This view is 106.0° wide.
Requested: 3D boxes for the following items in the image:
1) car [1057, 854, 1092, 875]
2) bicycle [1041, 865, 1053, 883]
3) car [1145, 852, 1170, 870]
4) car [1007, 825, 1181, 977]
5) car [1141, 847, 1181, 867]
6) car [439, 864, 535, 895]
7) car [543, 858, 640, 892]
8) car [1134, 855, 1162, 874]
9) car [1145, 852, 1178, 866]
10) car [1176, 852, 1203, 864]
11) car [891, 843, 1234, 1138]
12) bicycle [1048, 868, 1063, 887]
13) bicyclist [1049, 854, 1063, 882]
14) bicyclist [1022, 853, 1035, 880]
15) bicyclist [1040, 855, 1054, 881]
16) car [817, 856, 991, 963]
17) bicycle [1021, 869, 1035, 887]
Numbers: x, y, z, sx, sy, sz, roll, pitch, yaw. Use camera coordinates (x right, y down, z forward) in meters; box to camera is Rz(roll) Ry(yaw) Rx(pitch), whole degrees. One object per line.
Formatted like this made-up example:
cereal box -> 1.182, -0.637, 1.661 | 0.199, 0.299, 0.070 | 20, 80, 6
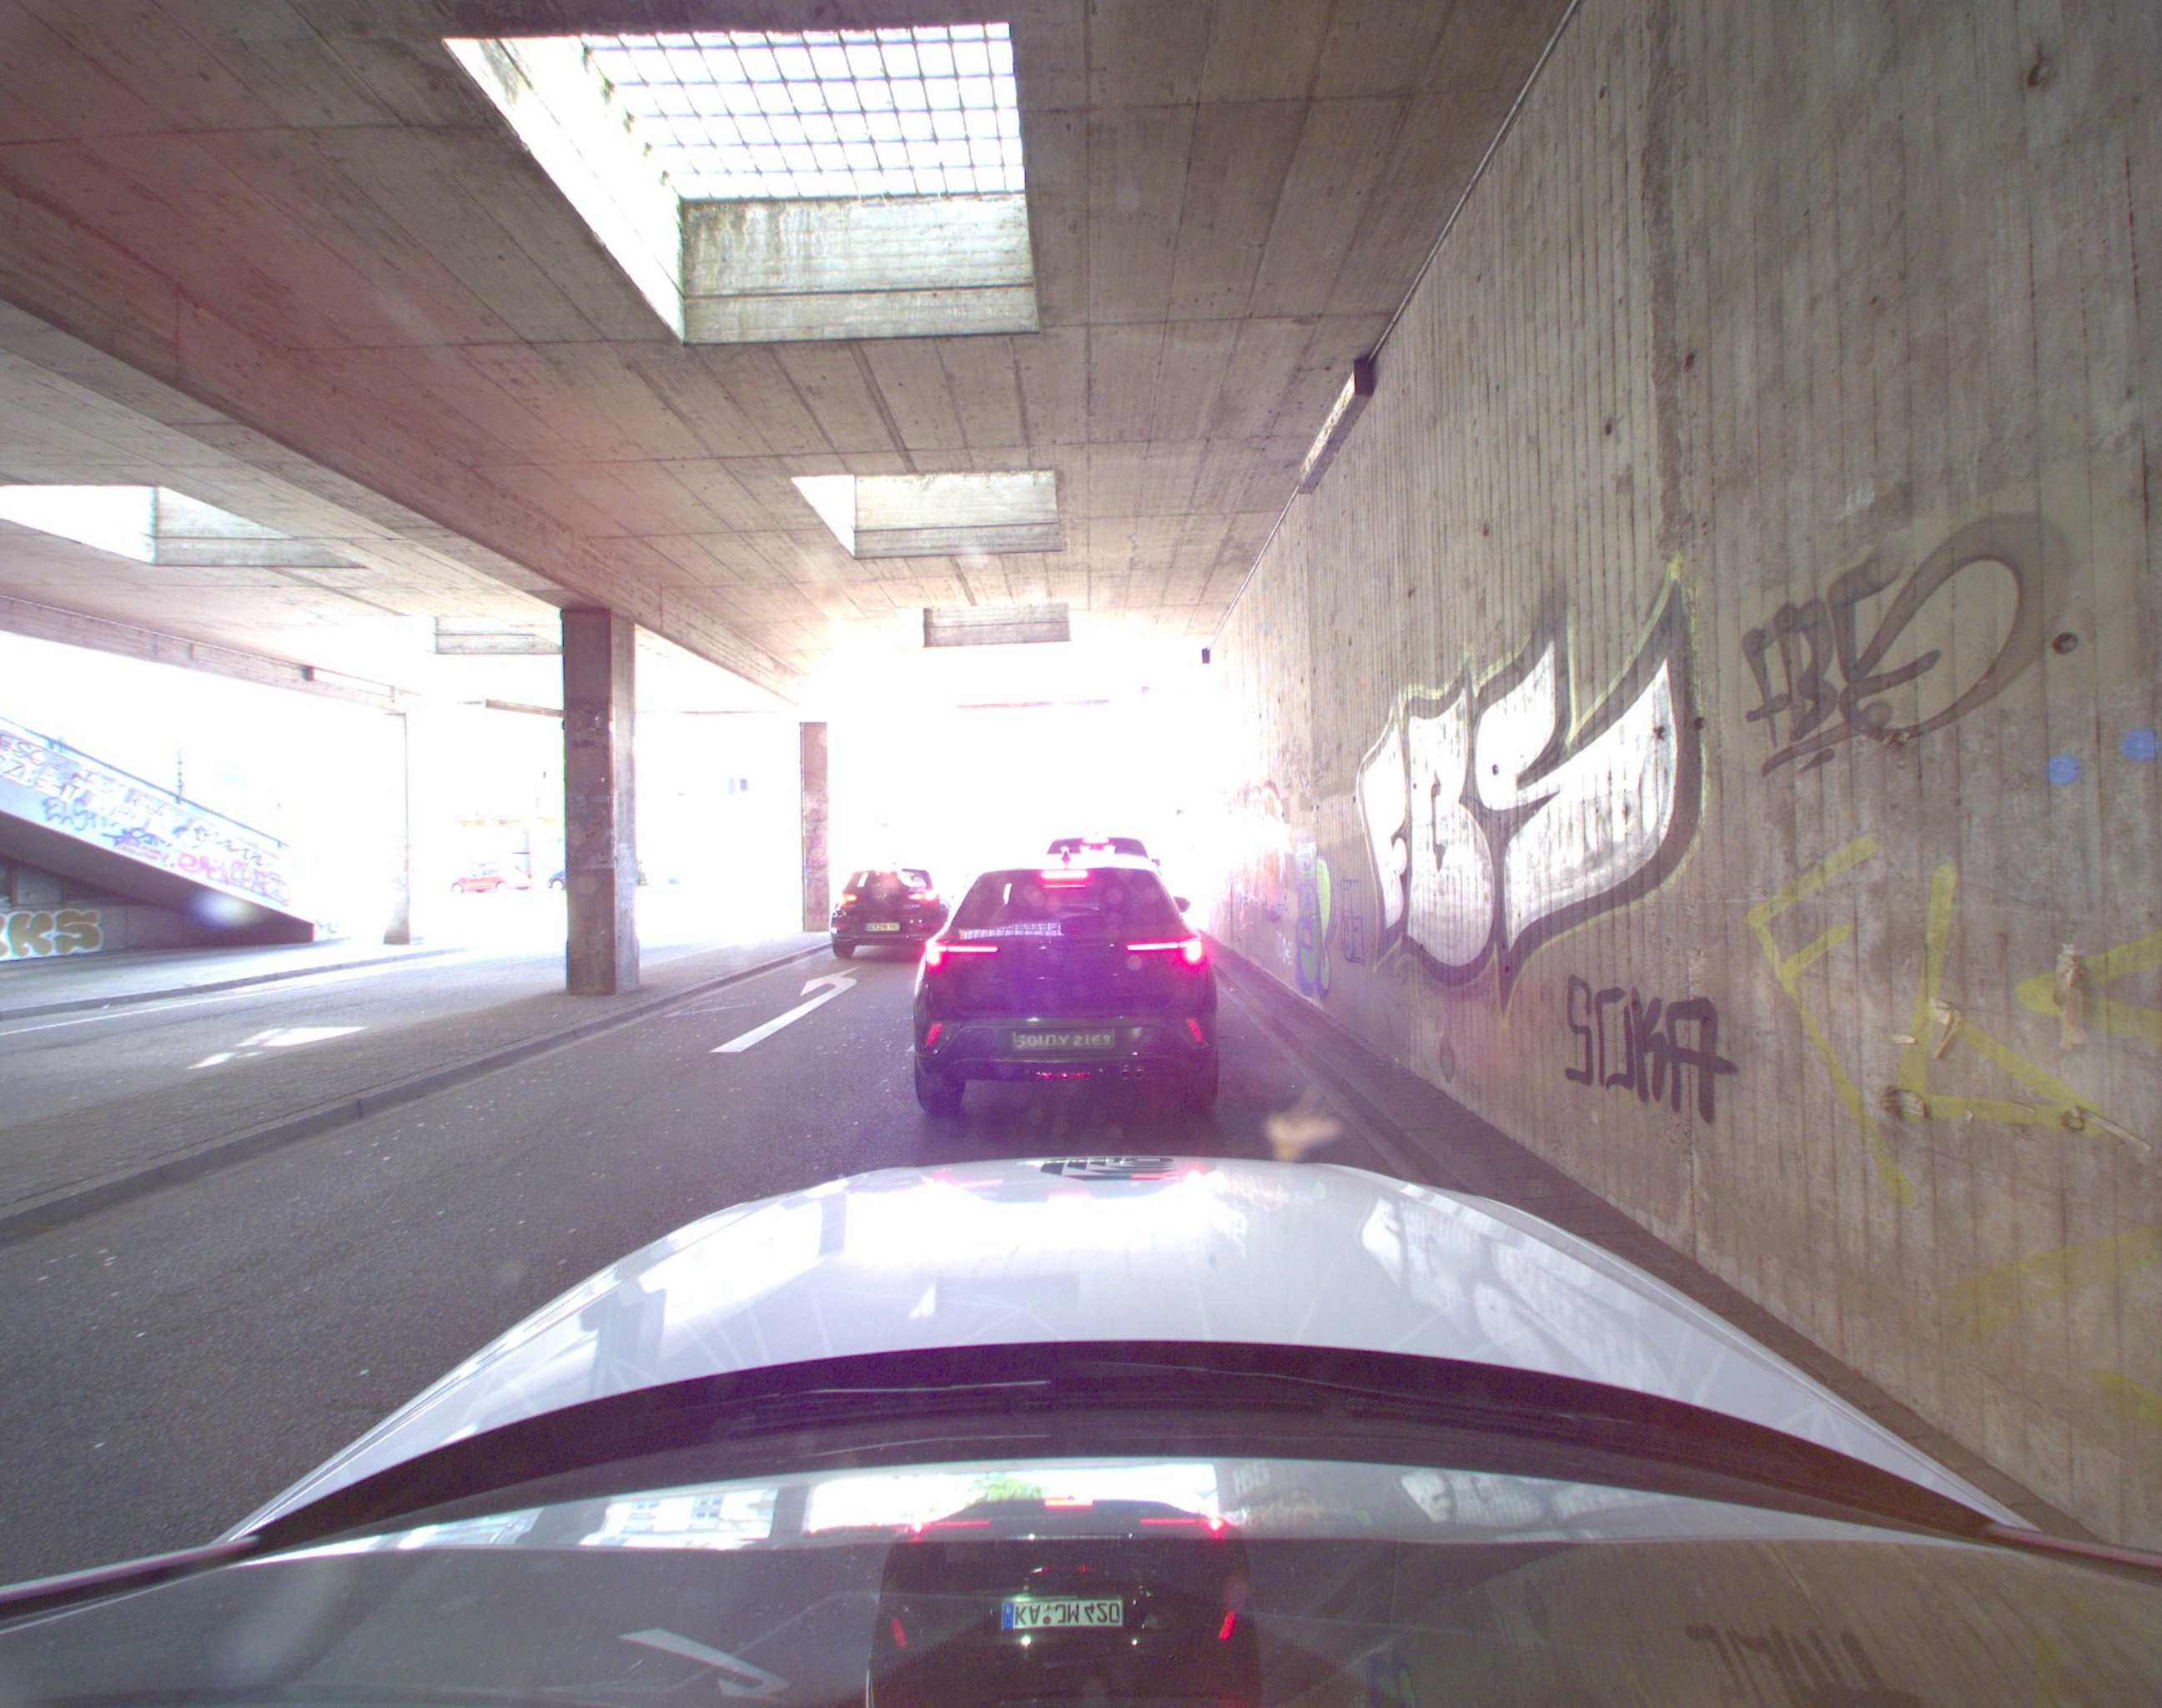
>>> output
car -> -0.454, 0.768, 59.636 | 1.645, 1.441, 3.478 | -1, 0, 16
bicycle -> -2.288, 1.316, 54.809 | 0.539, 1.123, 2.060 | -1, 0, 3
car -> 7.092, 0.663, 75.300 | 1.693, 1.512, 3.877 | -3, -1, 13
car -> 0.222, 0.582, 12.596 | 2.125, 1.835, 4.942 | -1, 0, 1
car -> 11.342, 0.418, 115.676 | 5.267, 2.545, 1.976 | -2, -1, -14
car -> -32.951, 1.416, 45.228 | 3.863, 1.540, 1.900 | -1, 1, 2
car -> -27.156, 1.161, 45.282 | 4.144, 1.724, 1.964 | -1, 1, 2
car -> 5.693, 0.879, 68.498 | 1.695, 1.452, 3.865 | -1, 0, 14
car -> 13.270, 0.806, 134.158 | 4.905, 2.083, 1.970 | -2, -1, -23
car -> 21.399, 0.802, 160.925 | 4.888, 2.083, 1.977 | -2, -1, -12
car -> -0.038, 0.713, 6.126 | 1.775, 1.517, 3.757 | -1, 0, 2
bicycle -> -1.610, 1.484, 52.204 | 0.695, 1.090, 1.863 | -1, 2, 5
bicyclist -> -1.612, 0.872, 52.307 | 0.742, 1.711, 0.968 | -1, 1, 4
bicyclist -> -3.348, 0.789, 51.922 | 0.602, 1.632, 0.911 | -1, 0, 7
bicyclist -> -2.306, 0.927, 54.761 | 0.778, 1.660, 1.032 | -1, 0, 3
car -> -2.752, 0.802, 13.723 | 1.794, 1.451, 4.328 | -2, 0, 2
bicycle -> -3.338, 1.537, 51.794 | 0.523, 1.090, 1.864 | -1, 0, 7
